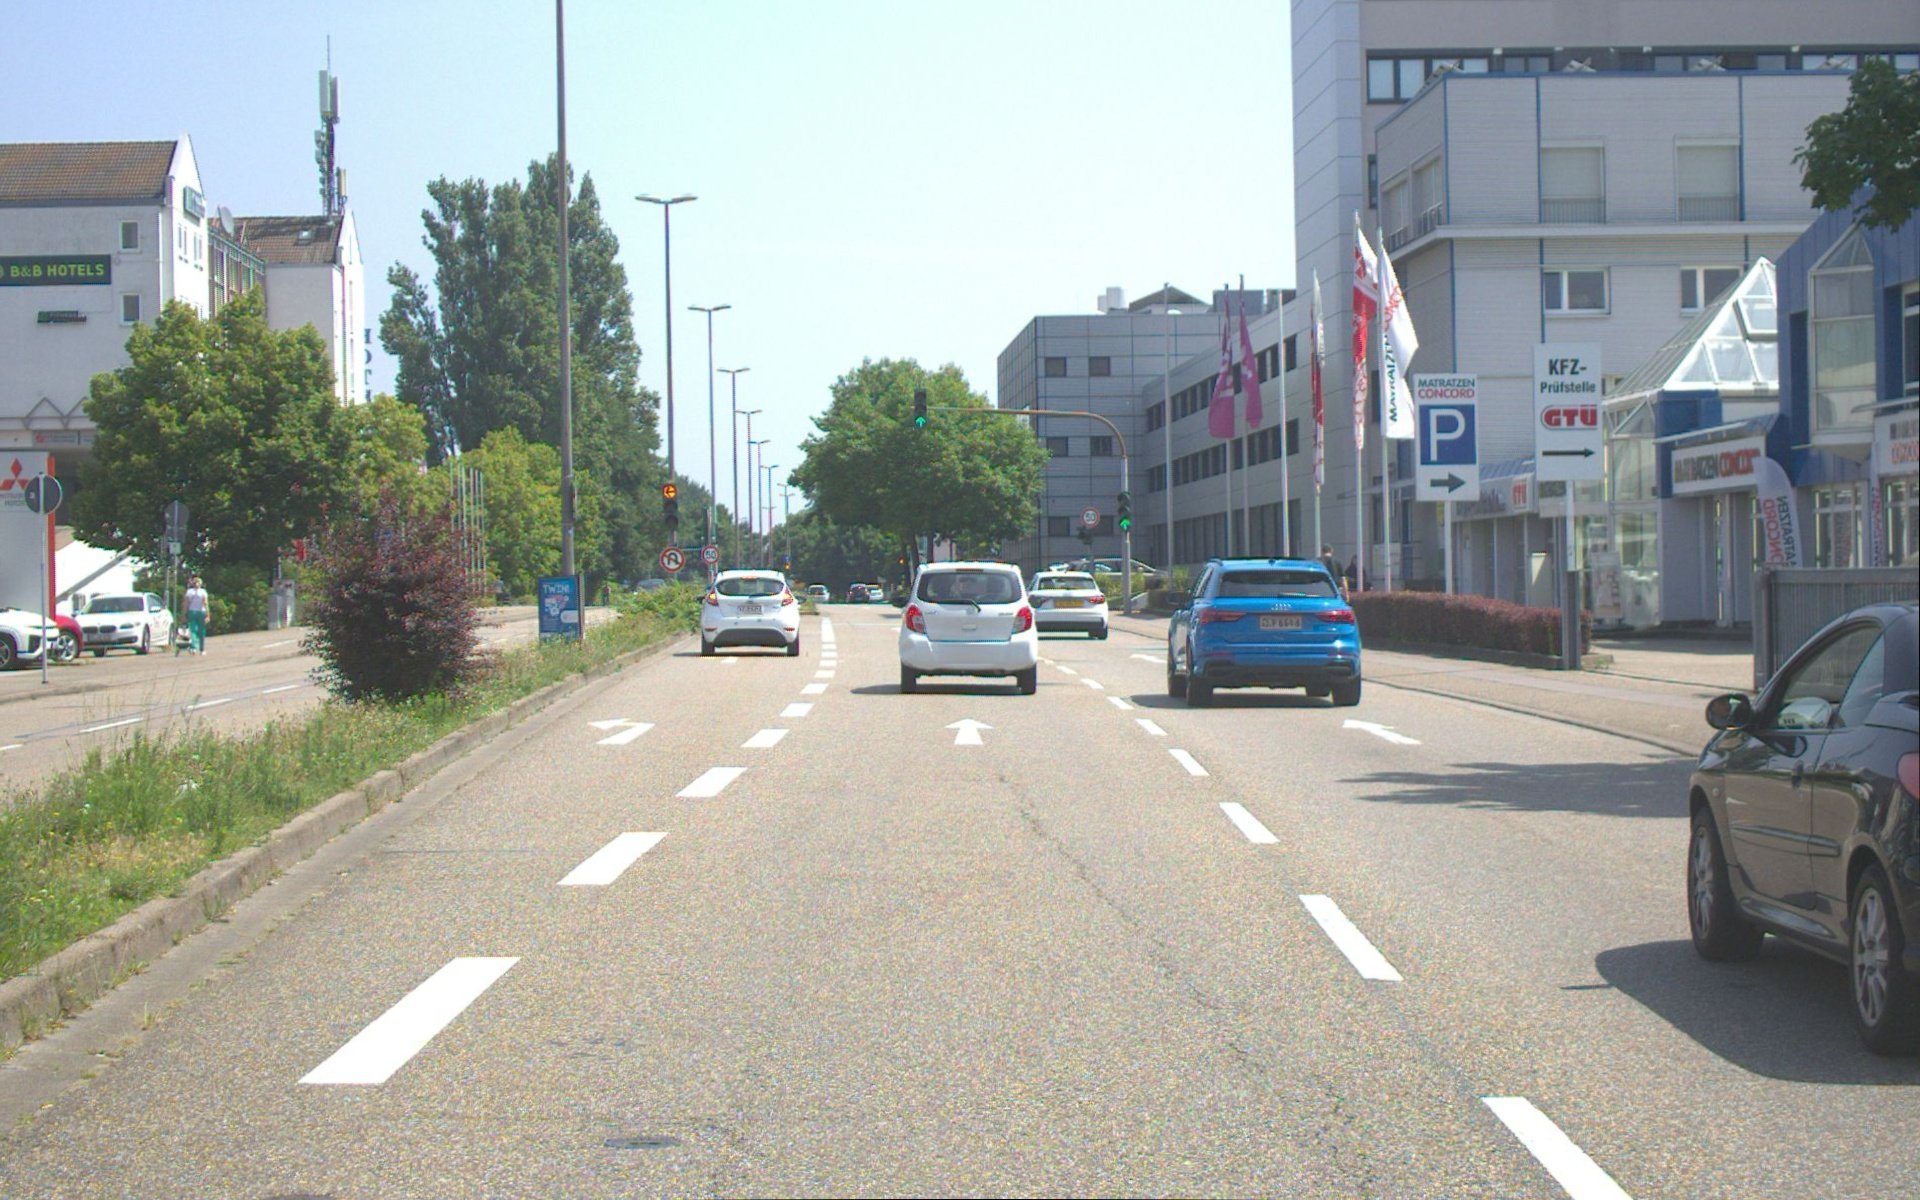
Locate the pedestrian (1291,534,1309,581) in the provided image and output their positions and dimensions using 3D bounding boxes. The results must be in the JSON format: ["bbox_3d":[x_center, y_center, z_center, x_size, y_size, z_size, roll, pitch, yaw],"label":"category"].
[{"bbox_3d":[12.039,-1.498,121.842,0.593,1.629,0.523,-2,0,6],"label":"pedestrian"}]

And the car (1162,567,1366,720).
[{"bbox_3d":[3.283,0.437,37.771,1.827,1.575,3.605,-1,1,-1],"label":"car"}]

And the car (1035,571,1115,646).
[{"bbox_3d":[2.390,0.156,71.903,1.559,1.515,3.605,-1,1,0],"label":"car"}]

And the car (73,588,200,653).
[{"bbox_3d":[-19.252,0.457,80.584,1.776,1.405,4.759,-1,0,1],"label":"car"}]

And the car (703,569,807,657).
[{"bbox_3d":[-3.511,0.200,59.310,1.688,1.429,3.711,-1,1,-2],"label":"car"}]

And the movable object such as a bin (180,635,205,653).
[{"bbox_3d":[-16.542,0.953,74.071,0.416,0.370,0.506,-1,0,-1],"label":"movable object such as a bin"}]

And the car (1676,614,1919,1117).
[{"bbox_3d":[3.524,0.752,11.406,1.627,1.359,3.605,0,1,2],"label":"car"}]

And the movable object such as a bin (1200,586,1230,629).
[{"bbox_3d":[5.715,0.169,77.002,0.551,0.916,0.653,-4,0,-2],"label":"movable object such as a bin"}]

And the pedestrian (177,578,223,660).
[{"bbox_3d":[-16.467,0.401,74.482,0.740,1.741,1.033,-1,0,0],"label":"pedestrian"}]

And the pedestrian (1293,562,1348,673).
[{"bbox_3d":[6.027,0.287,57.566,0.785,1.840,0.936,-1,0,0],"label":"pedestrian"}]

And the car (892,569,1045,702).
[{"bbox_3d":[0.061,0.390,41.185,1.748,1.515,3.746,0,1,-1],"label":"car"}]

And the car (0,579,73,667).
[{"bbox_3d":[-20.034,0.490,67.939,4.545,1.704,1.760,-1,0,-3],"label":"car"}]

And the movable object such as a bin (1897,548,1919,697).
[{"bbox_3d":[9.997,0.211,33.753,1.130,1.465,1.489,-1,0,-2],"label":"movable object such as a bin"}]
